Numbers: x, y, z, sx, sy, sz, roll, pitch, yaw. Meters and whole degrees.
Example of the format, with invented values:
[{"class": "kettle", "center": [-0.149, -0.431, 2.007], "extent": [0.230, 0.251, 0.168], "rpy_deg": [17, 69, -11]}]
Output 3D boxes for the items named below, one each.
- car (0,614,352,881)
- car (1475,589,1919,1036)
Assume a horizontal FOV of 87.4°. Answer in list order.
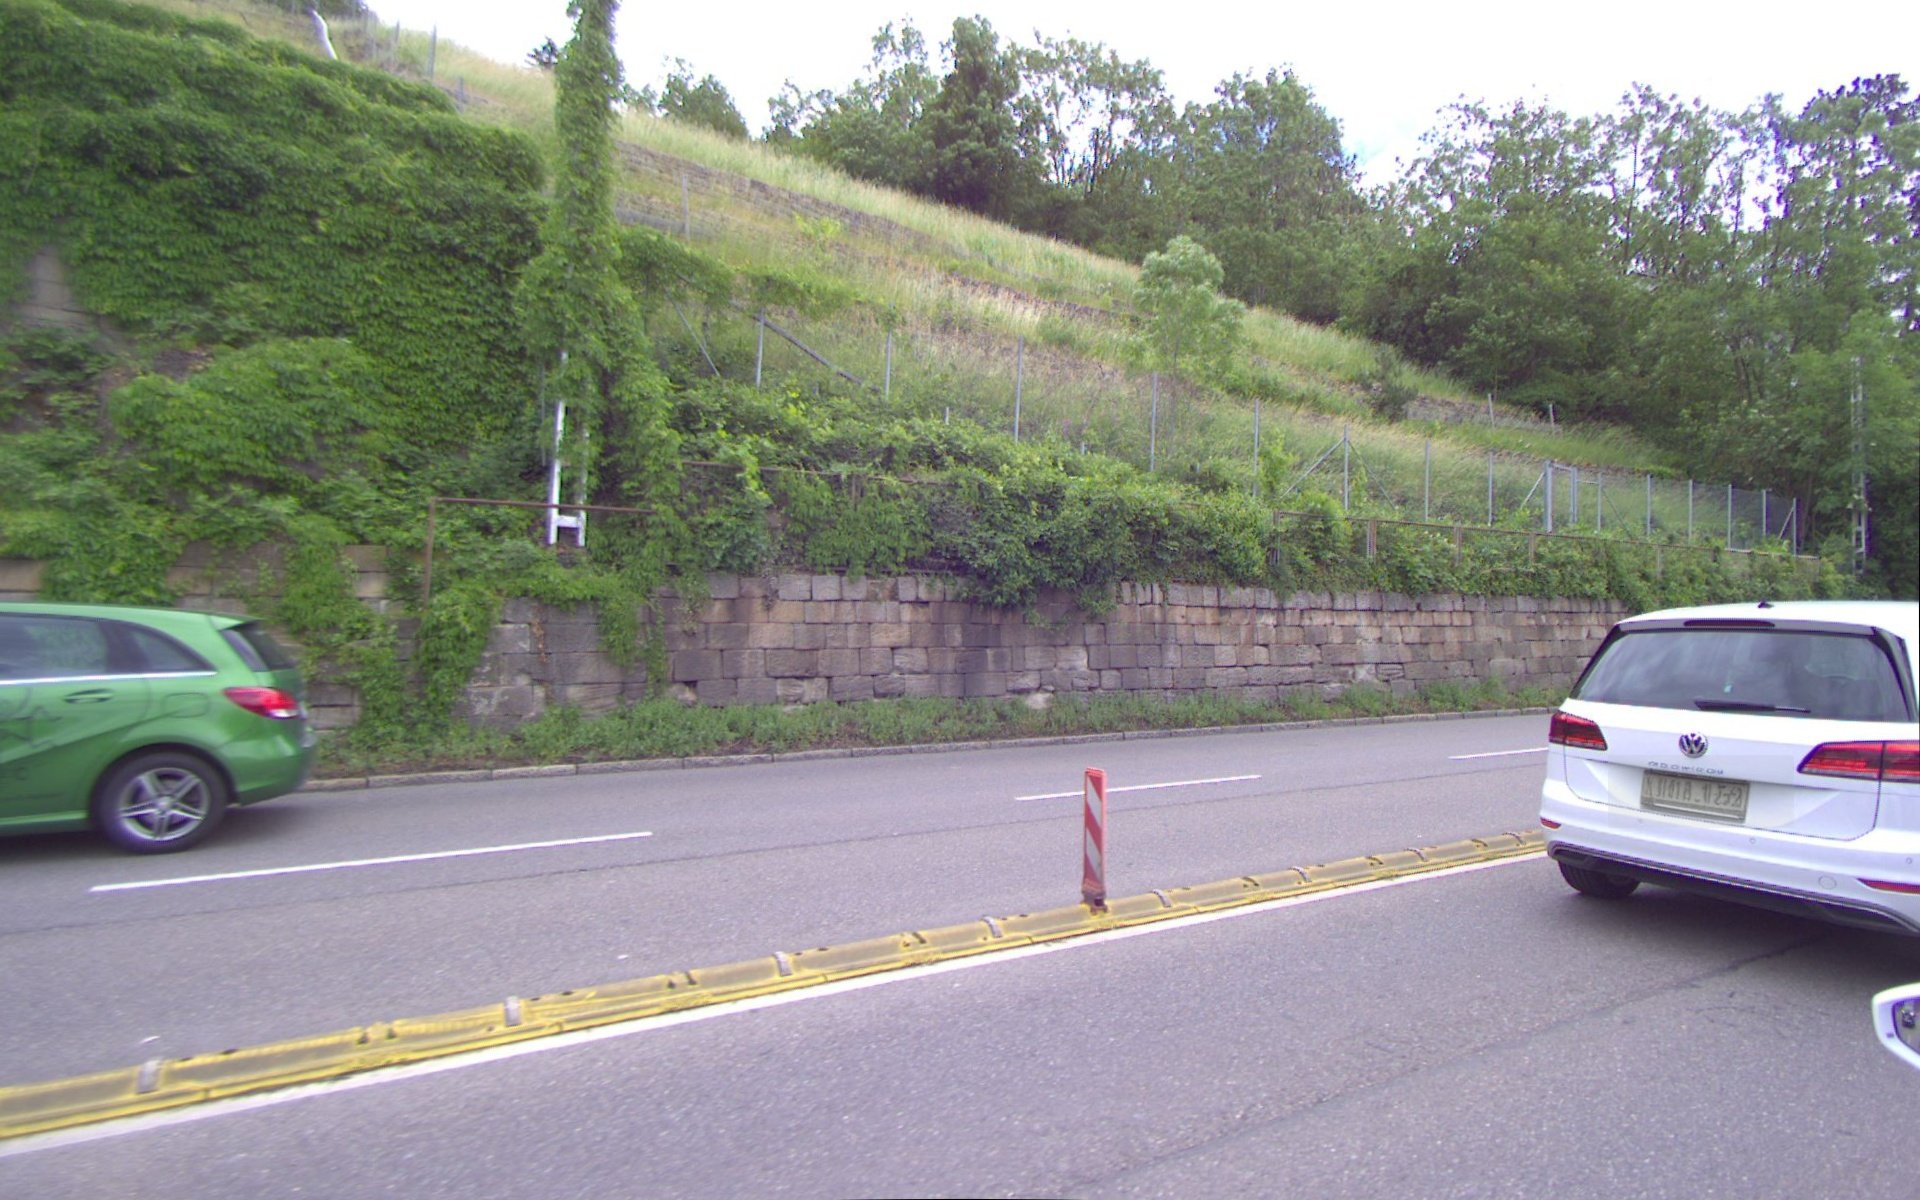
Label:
[{"class": "car", "center": [-6.357, 0.858, 6.337], "extent": [4.285, 1.535, 1.841], "rpy_deg": [1, -1, -32]}, {"class": "car", "center": [4.942, 0.817, 5.387], "extent": [4.303, 1.601, 1.813], "rpy_deg": [1, -2, -29]}]
